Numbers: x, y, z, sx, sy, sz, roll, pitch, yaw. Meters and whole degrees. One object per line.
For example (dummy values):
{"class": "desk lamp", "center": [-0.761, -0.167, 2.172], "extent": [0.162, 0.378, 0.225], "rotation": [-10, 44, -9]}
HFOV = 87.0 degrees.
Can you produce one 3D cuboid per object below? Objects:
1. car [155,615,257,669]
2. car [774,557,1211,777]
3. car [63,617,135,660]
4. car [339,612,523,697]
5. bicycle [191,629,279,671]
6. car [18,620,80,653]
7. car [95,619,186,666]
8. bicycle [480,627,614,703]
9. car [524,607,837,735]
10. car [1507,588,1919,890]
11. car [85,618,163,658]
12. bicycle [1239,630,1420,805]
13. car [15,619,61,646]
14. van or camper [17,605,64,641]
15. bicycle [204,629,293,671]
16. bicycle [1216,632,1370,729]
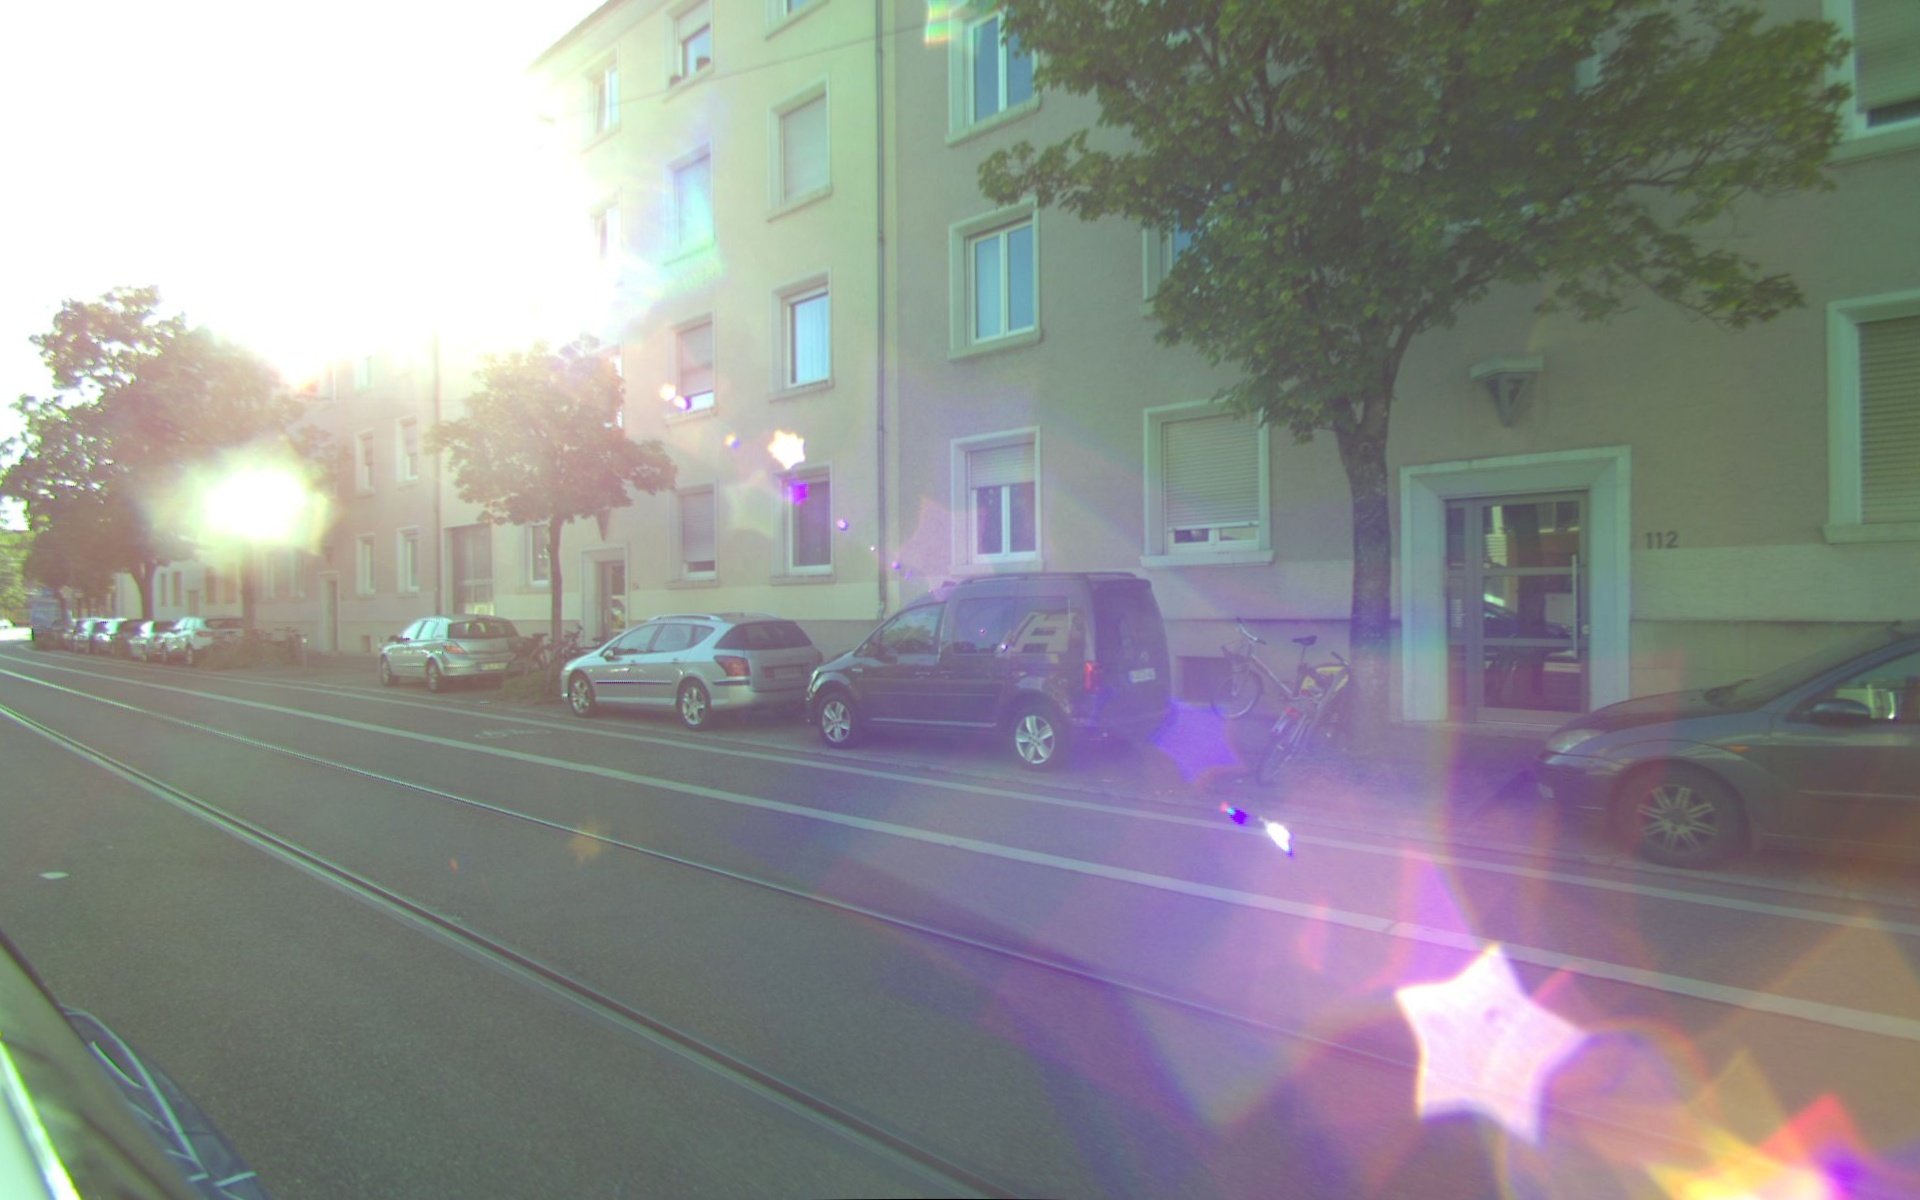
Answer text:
{"class": "car", "center": [-24.438, 1.316, 32.770], "extent": [4.043, 1.635, 1.667], "rotation": [-1, -1, 38]}
{"class": "car", "center": [0.198, 0.583, 10.710], "extent": [4.418, 1.859, 1.748], "rotation": [-1, 2, 39]}
{"class": "car", "center": [-37.960, 1.678, 44.575], "extent": [4.043, 1.800, 1.667], "rotation": [-1, -1, 38]}
{"class": "car", "center": [-10.747, 1.012, 20.402], "extent": [4.751, 1.484, 1.746], "rotation": [-1, 0, 42]}
{"class": "bicycle", "center": [-22.012, 1.501, 30.771], "extent": [0.535, 1.151, 2.123], "rotation": [-1, -1, 37]}
{"class": "car", "center": [-45.326, 1.797, 50.312], "extent": [3.945, 1.563, 1.667], "rotation": [-1, -1, 38]}
{"class": "car", "center": [-29.185, 1.488, 36.021], "extent": [4.043, 1.563, 1.667], "rotation": [-1, -1, 38]}
{"class": "bicycle", "center": [-7.229, 1.110, 17.810], "extent": [0.659, 1.151, 2.124], "rotation": [-1, 1, 37]}
{"class": "car", "center": [-4.067, 0.892, 14.233], "extent": [4.853, 1.484, 1.748], "rotation": [-1, 0, 39]}
{"class": "car", "center": [5.639, 0.706, 5.715], "extent": [4.180, 1.484, 1.747], "rotation": [-1, 2, 42]}
{"class": "car", "center": [-34.548, 1.540, 41.778], "extent": [4.043, 1.563, 1.667], "rotation": [-1, -1, 38]}
{"class": "bicycle", "center": [3.122, 0.888, 8.415], "extent": [0.746, 1.113, 2.091], "rotation": [-1, 2, 39]}
{"class": "car", "center": [-55.580, 1.932, 60.992], "extent": [3.408, 1.556, 1.645], "rotation": [-1, -1, 41]}
{"class": "van or camper", "center": [-64.894, 1.579, 71.400], "extent": [5.500, 2.432, 2.047], "rotation": [-1, -1, 44]}
{"class": "bicycle", "center": [-21.280, 1.470, 30.305], "extent": [0.530, 1.151, 2.123], "rotation": [-1, -1, 37]}
{"class": "bicycle", "center": [3.589, 0.846, 10.984], "extent": [1.504, 0.971, 0.479], "rotation": [-1, -1, 37]}
